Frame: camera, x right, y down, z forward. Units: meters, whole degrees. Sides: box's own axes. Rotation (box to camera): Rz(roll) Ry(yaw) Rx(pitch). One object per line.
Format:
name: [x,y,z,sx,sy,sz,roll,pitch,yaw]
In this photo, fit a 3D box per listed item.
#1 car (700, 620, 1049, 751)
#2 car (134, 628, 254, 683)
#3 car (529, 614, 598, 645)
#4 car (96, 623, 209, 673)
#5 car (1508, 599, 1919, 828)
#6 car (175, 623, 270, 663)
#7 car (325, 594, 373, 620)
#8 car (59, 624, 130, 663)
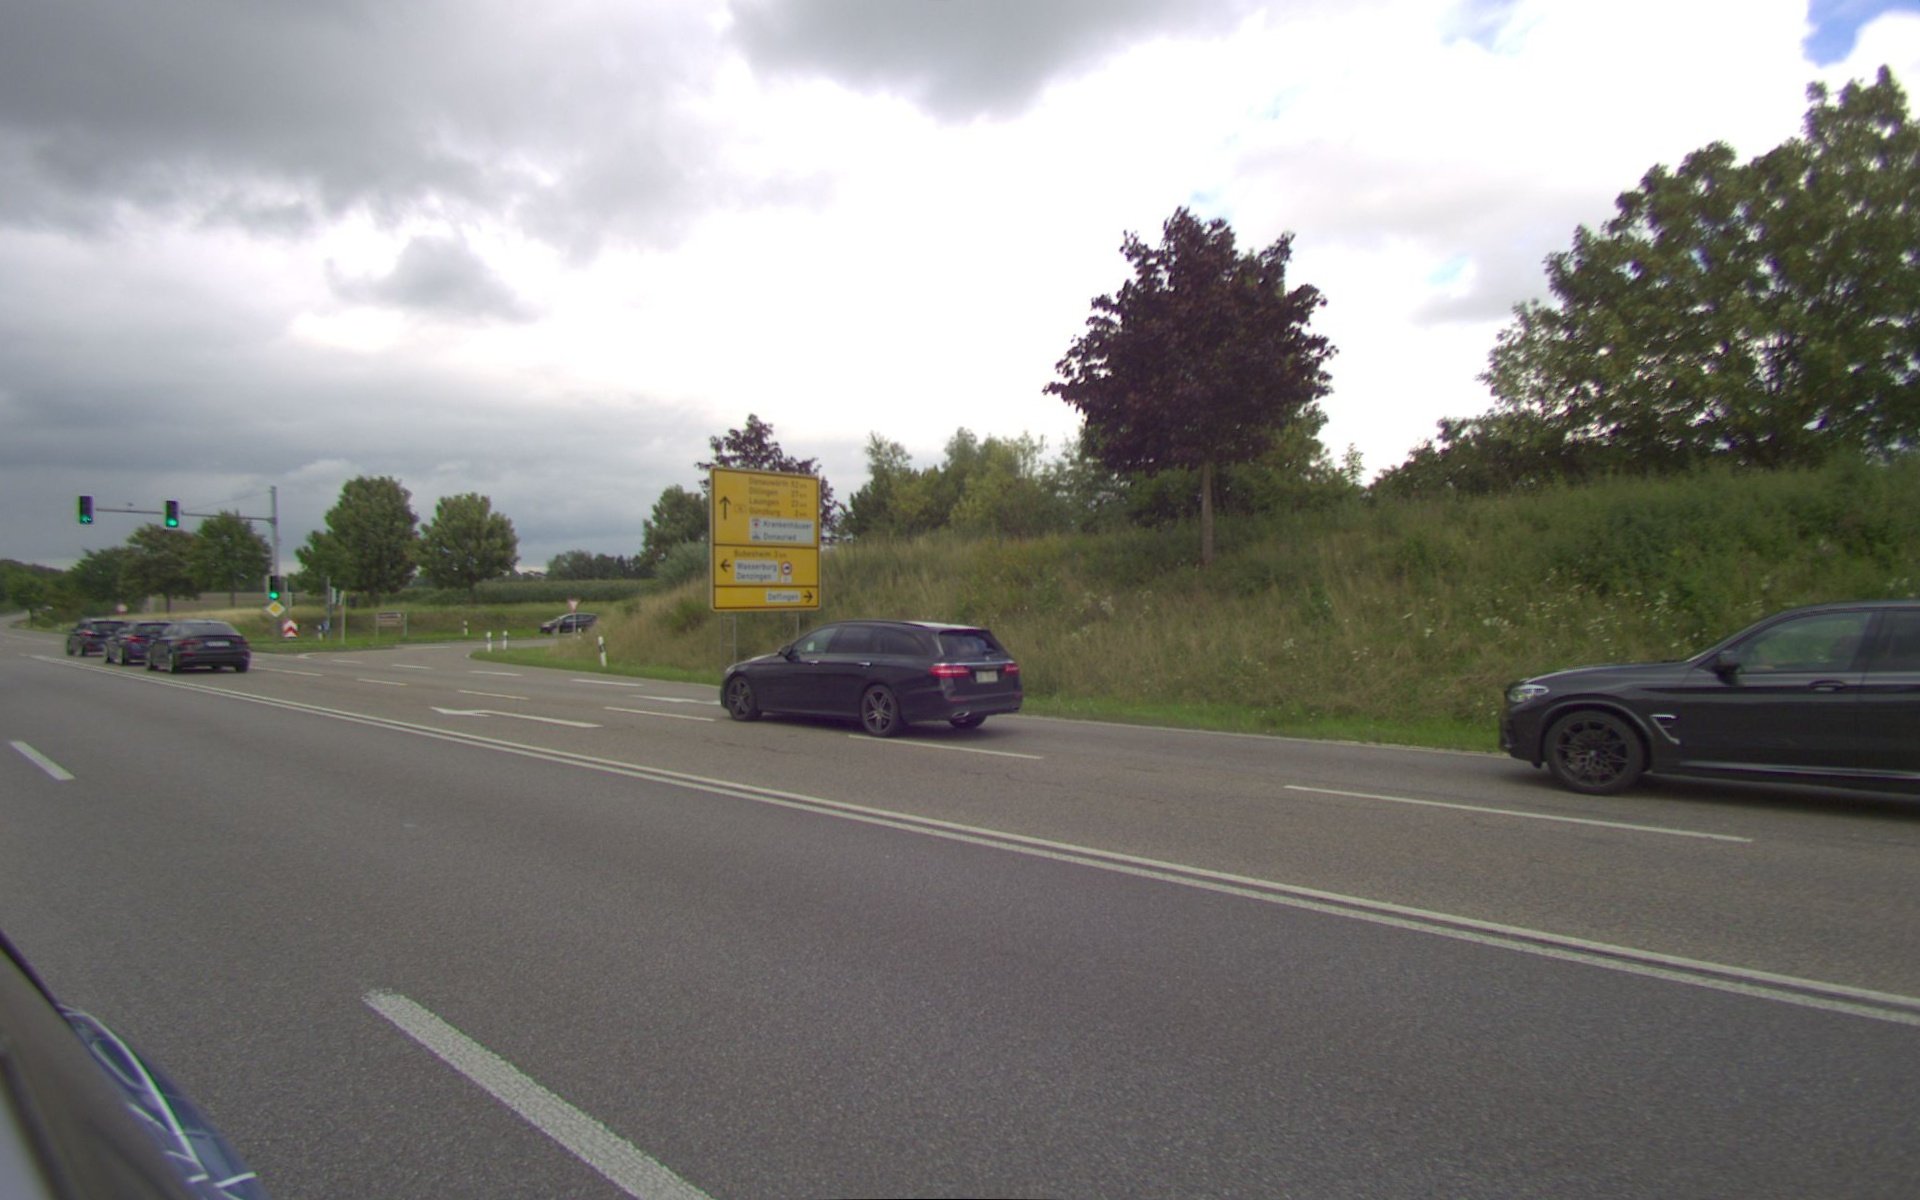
car: [-1.353,1.039,14.081,4.991,1.505,1.972,-1,-2,42]
car: [-21.547,1.492,28.391,4.540,1.394,1.747,-1,-2,40]
car: [-27.117,1.999,69.328,1.999,2.029,3.944,-1,-2,42]
car: [-26.203,1.512,32.794,4.880,1.495,2.027,-1,-3,42]
car: [7.358,0.824,8.002,4.992,1.623,1.972,-1,-2,42]
car: [-30.207,1.712,41.415,5.123,1.546,2.024,-1,-2,41]
car: [-50.998,0.588,84.445,3.991,2.029,1.976,-2,0,36]
car: [-34.271,1.690,40.036,3.944,1.454,1.707,-2,-2,43]
